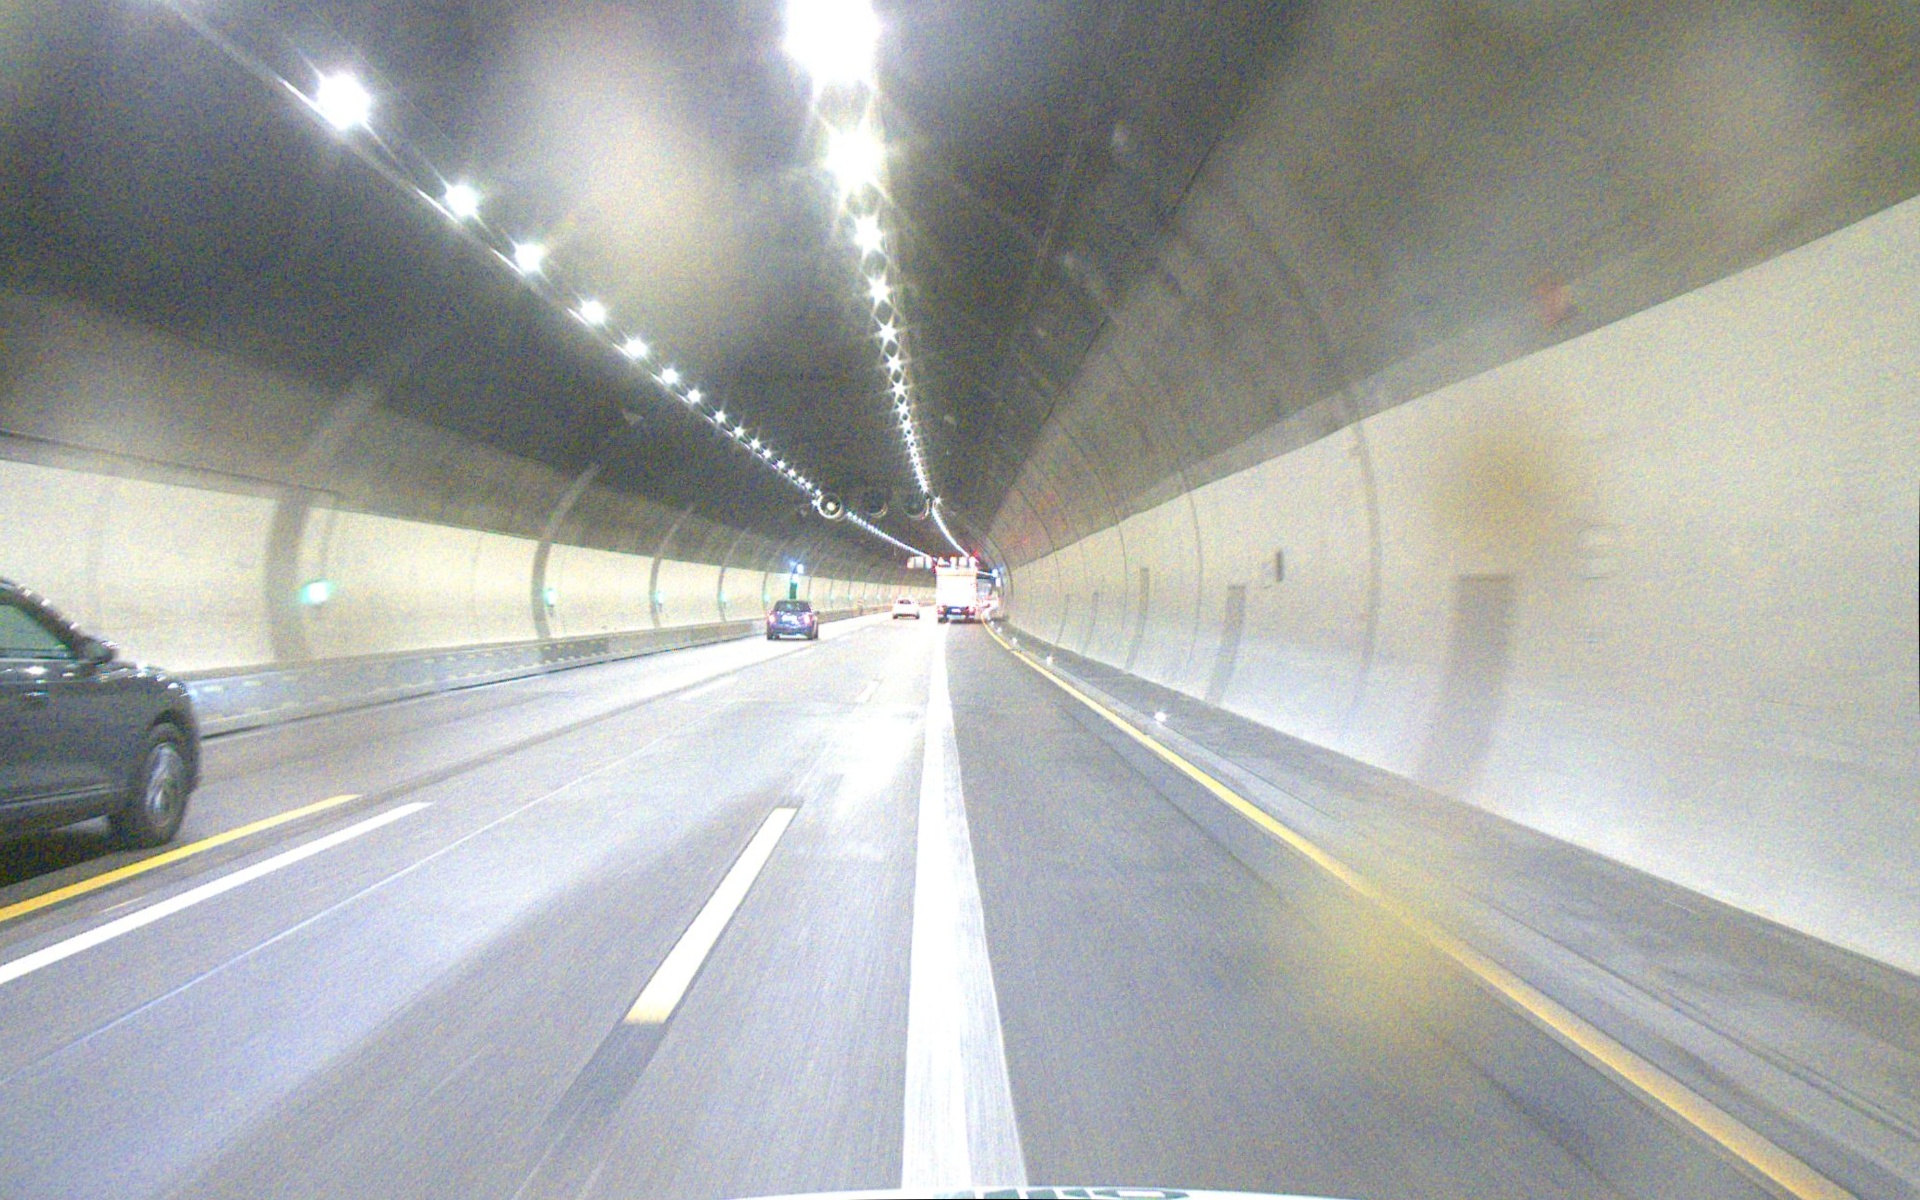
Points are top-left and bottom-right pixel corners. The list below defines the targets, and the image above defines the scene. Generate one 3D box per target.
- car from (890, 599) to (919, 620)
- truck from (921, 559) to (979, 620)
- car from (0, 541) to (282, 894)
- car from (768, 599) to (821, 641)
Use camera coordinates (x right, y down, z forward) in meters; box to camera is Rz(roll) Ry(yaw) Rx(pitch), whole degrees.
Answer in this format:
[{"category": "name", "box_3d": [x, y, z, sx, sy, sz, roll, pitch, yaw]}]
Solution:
[{"category": "car", "box_3d": [-3.885, 0.643, 116.741, 1.953, 1.437, 4.741, 1, 0, -1]}, {"category": "truck", "box_3d": [-0.697, -0.672, 107.591, 3.519, 3.714, 10.720, 1, 0, -1]}, {"category": "car", "box_3d": [-5.238, 0.505, 8.030, 1.953, 1.567, 4.741, 1, 0, -1]}, {"category": "car", "box_3d": [-5.959, 0.700, 59.882, 1.655, 1.442, 3.921, 1, 0, -2]}]
